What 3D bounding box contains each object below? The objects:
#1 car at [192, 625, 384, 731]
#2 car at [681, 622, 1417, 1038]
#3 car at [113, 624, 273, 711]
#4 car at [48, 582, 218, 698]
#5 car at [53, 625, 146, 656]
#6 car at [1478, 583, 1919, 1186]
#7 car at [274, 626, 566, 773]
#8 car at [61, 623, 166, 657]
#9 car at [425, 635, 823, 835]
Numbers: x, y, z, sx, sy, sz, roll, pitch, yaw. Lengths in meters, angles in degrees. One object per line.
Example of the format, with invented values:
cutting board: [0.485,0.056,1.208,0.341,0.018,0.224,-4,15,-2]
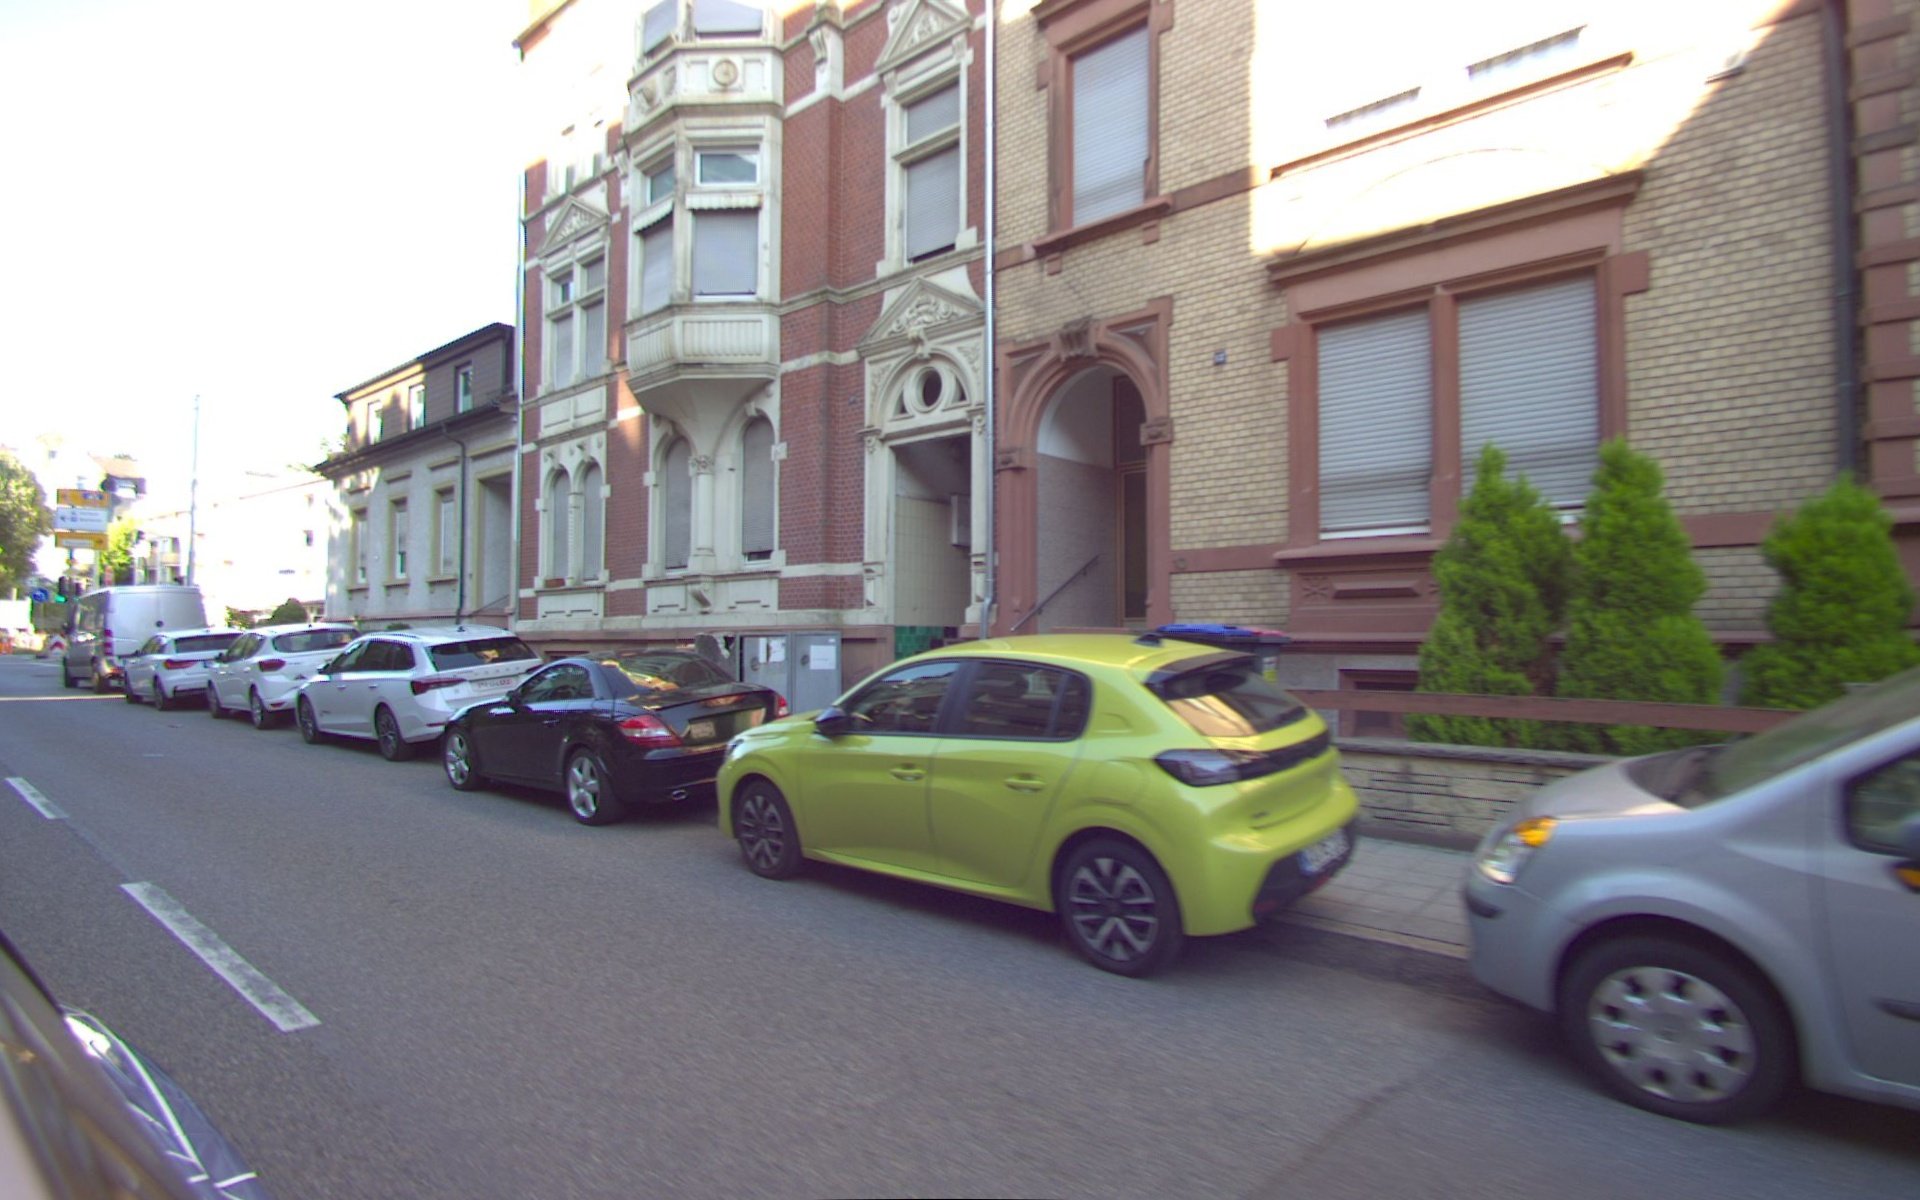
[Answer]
car: [-11.102,1.198,16.622,4.020,1.514,1.684,-2,-2,42]
car: [0.250,0.919,5.862,4.072,1.514,1.684,0,-1,42]
car: [-14.883,1.237,19.577,3.820,1.514,1.685,-2,-2,40]
car: [-20.023,0.937,24.377,6.008,2.479,2.047,-2,-2,40]
car: [-55.083,2.578,64.809,1.999,1.866,4.269,-3,-2,40]
car: [3.664,0.741,2.826,3.633,1.596,1.685,-2,-2,41]
car: [-6.995,1.128,12.902,4.544,1.548,1.685,-2,-2,39]
car: [-52.794,2.496,63.197,2.113,1.980,4.626,-3,-2,35]
car: [-3.133,1.021,9.052,3.858,1.377,1.684,-2,-2,41]
